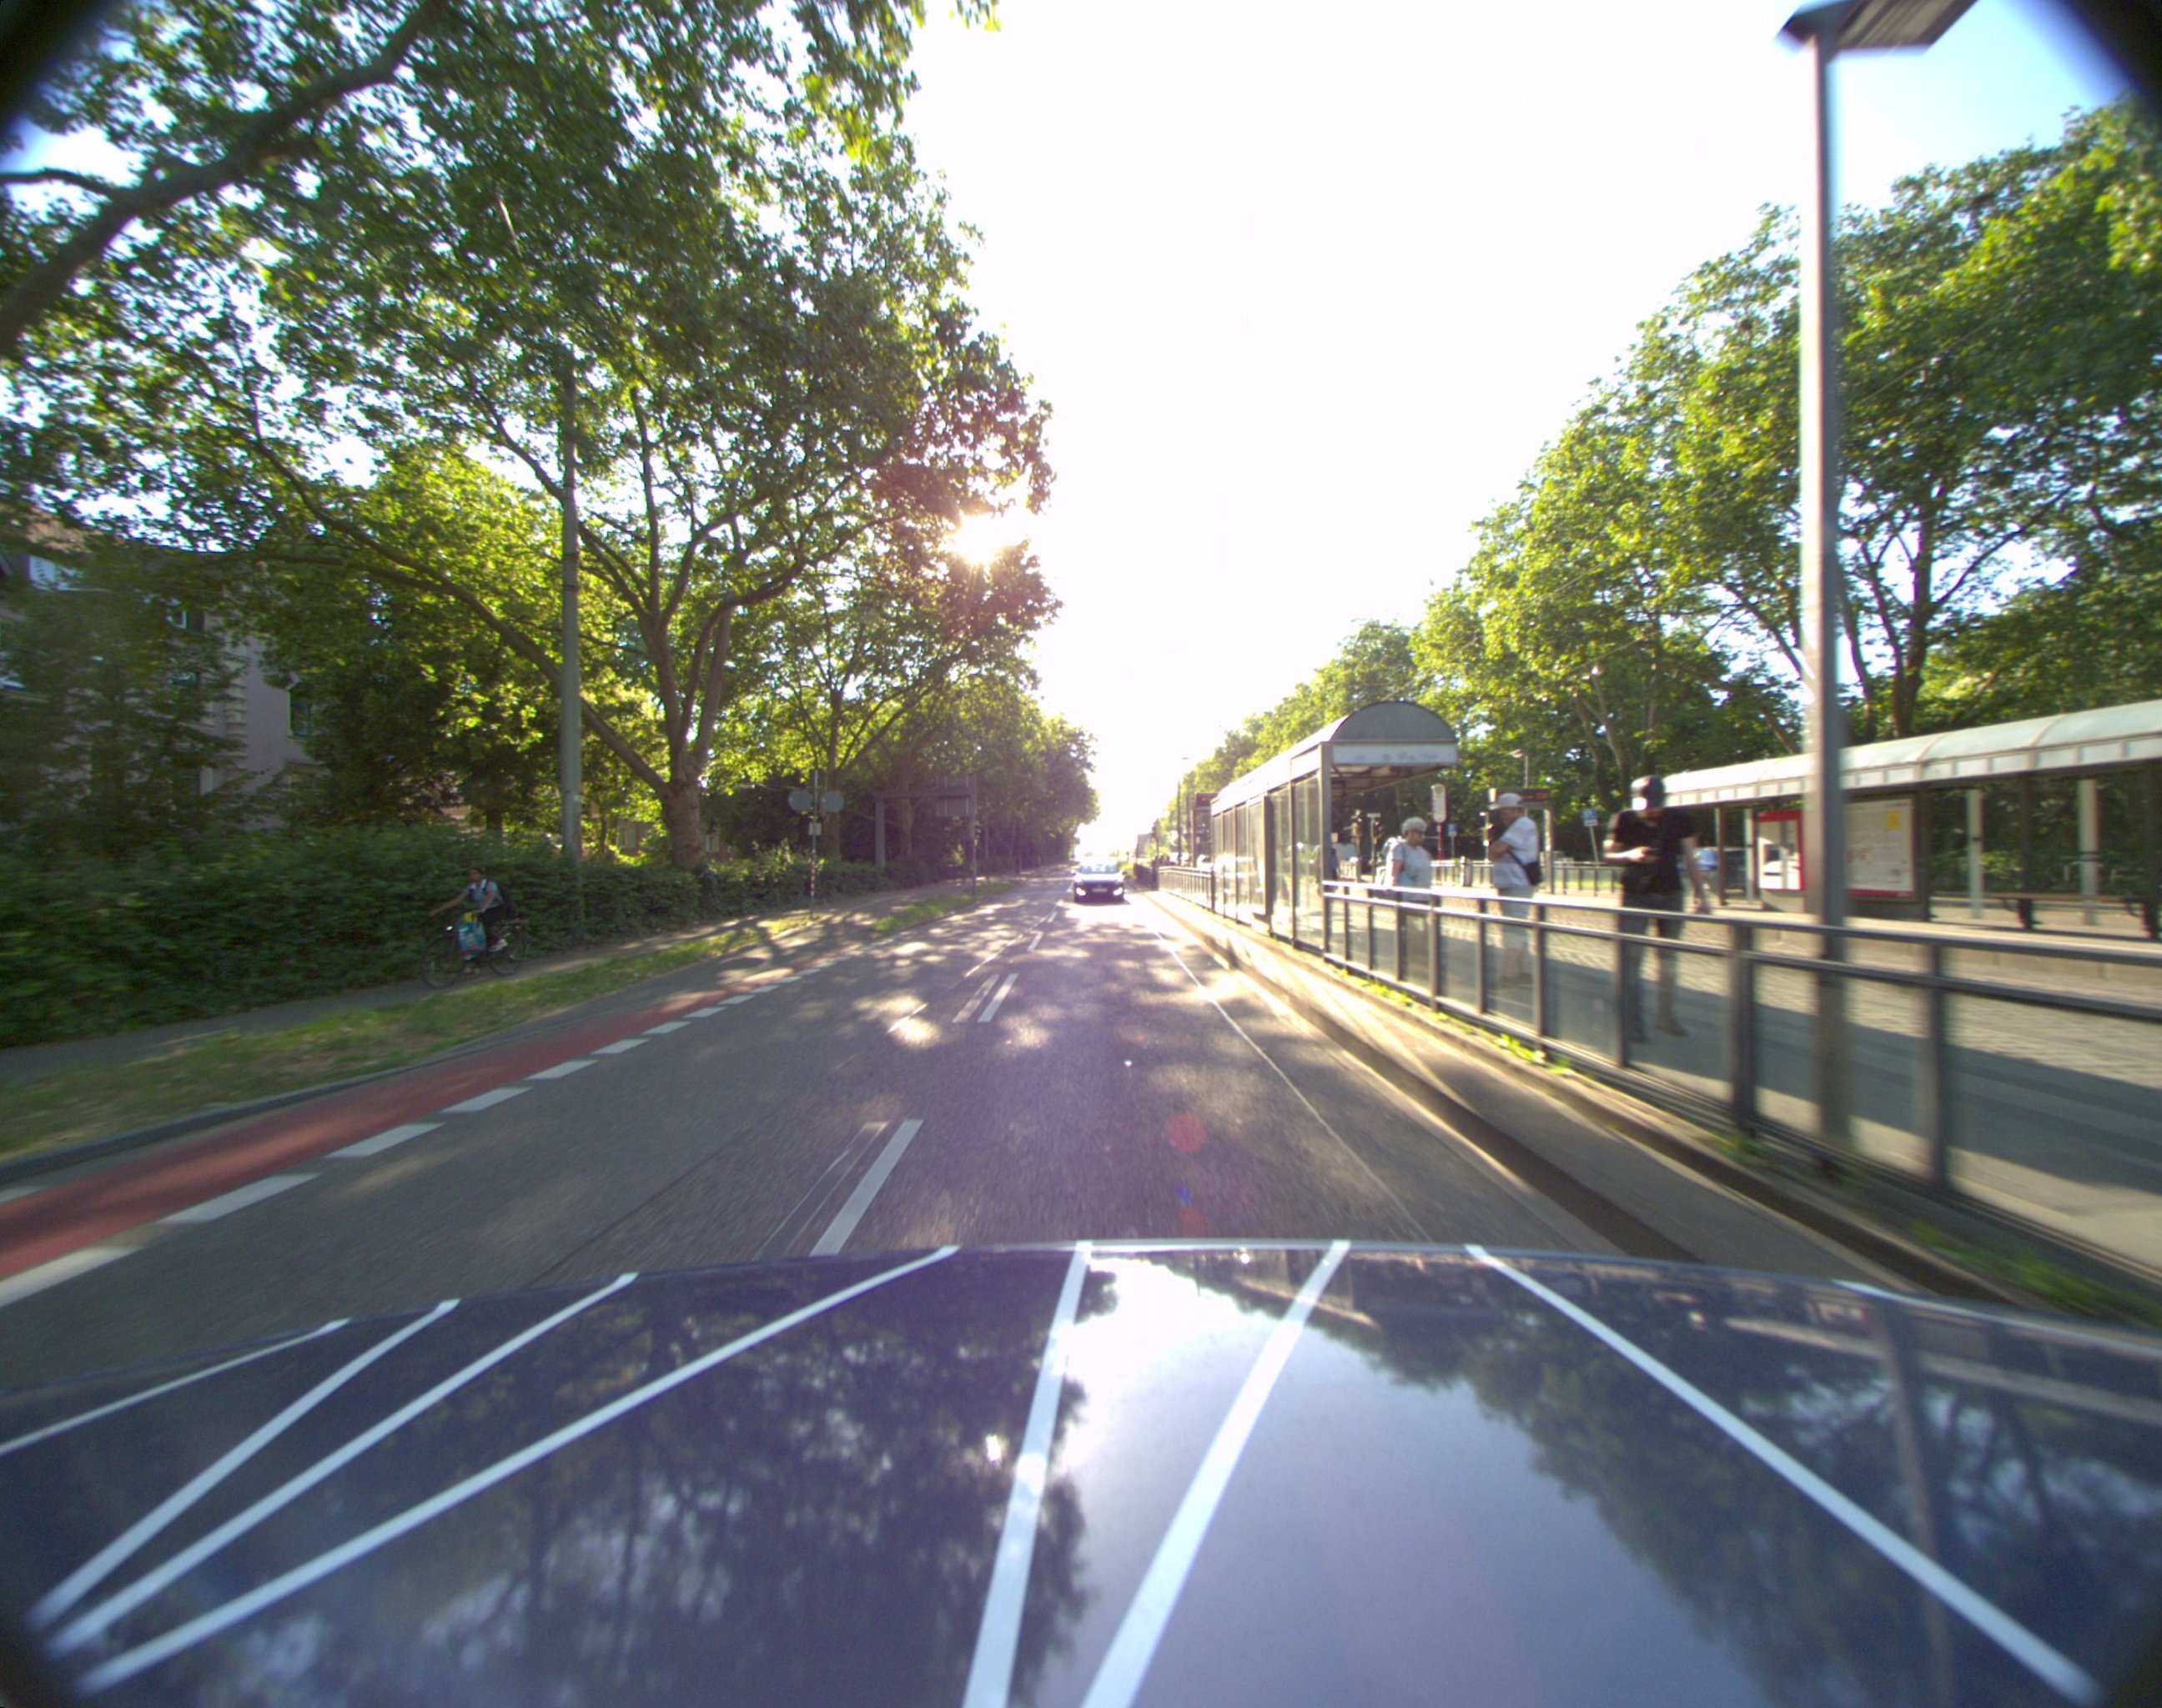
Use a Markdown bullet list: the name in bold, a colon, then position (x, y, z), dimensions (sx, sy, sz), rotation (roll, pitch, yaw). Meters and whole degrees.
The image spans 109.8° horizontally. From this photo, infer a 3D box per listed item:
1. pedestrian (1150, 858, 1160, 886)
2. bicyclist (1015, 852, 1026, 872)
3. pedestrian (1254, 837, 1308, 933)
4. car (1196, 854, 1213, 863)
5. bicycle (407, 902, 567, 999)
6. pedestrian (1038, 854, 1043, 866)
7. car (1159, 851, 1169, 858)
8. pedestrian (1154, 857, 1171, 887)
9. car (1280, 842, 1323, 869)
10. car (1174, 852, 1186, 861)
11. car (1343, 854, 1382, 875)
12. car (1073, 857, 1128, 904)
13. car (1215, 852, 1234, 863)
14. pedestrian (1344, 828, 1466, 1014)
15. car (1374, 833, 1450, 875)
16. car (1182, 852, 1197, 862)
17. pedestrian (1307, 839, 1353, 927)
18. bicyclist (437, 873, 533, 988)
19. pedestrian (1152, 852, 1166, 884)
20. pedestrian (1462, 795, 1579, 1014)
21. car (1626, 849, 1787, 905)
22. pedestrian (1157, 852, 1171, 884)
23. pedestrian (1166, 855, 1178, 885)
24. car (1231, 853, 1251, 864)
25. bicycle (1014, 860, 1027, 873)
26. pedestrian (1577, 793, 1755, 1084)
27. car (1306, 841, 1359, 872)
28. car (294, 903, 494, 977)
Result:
- **pedestrian**: position (3.553, 0.872, 36.468), dimensions (0.417, 1.313, 0.359), rotation (1, 1, 1)
- **bicyclist**: position (-5.266, 0.684, 66.123), dimensions (0.700, 1.718, 1.081), rotation (-1, 0, 9)
- **pedestrian**: position (3.662, 0.552, 13.960), dimensions (0.744, 1.684, 0.791), rotation (-2, 1, 1)
- **car**: position (19.920, 0.711, 122.555), dimensions (1.832, 1.496, 4.393), rotation (1, 1, -1)
- **bicycle**: position (-8.133, 1.276, 10.521), dimensions (0.768, 1.101, 1.800), rotation (-1, 0, 0)
- **pedestrian**: position (-5.450, 0.827, 102.273), dimensions (0.649, 1.626, 0.928), rotation (1, 1, 2)
- **car**: position (20.201, 0.127, 185.269), dimensions (1.734, 1.730, 3.899), rotation (1, 1, -1)
- **pedestrian**: position (3.846, 0.831, 35.925), dimensions (0.592, 1.398, 0.558), rotation (1, 1, -20)
- **car**: position (20.897, 0.105, 72.391), dimensions (2.189, 2.506, 6.049), rotation (1, 1, -1)
- **car**: position (20.410, 0.477, 157.088), dimensions (1.832, 1.830, 4.393), rotation (1, 1, -1)
- **car**: position (21.386, 0.751, 57.874), dimensions (1.656, 1.504, 3.264), rotation (1, 1, -2)
- **car**: position (0.678, 0.890, 27.548), dimensions (1.799, 1.501, 4.000), rotation (-2, 0, 1)
- **car**: position (20.508, 0.510, 108.600), dimensions (1.832, 1.428, 4.323), rotation (1, 1, -1)
- **pedestrian**: position (3.095, 0.593, 7.245), dimensions (0.800, 1.624, 0.868), rotation (-3, 0, 39)
- **car**: position (21.296, -0.035, 49.273), dimensions (2.189, 2.506, 6.031), rotation (1, 1, -1)
- **car**: position (20.086, 0.593, 141.152), dimensions (1.832, 1.709, 4.392), rotation (1, 1, -5)
- **pedestrian**: position (4.569, 0.528, 13.976), dimensions (0.589, 1.558, 0.650), rotation (-2, 1, 1)
- **bicyclist**: position (-8.129, 1.023, 10.391), dimensions (0.768, 1.504, 0.650), rotation (-1, 0, 0)
- **pedestrian**: position (3.865, 0.708, 37.628), dimensions (0.520, 1.559, 0.509), rotation (2, 1, 31)
- **pedestrian**: position (3.881, 0.431, 6.763), dimensions (0.652, 1.831, 0.711), rotation (-2, 1, 11)
- **car**: position (20.353, 0.685, 24.972), dimensions (1.908, 1.642, 3.971), rotation (1, 1, -2)
- **pedestrian**: position (4.152, 0.692, 38.029), dimensions (0.520, 1.559, 0.509), rotation (2, 1, 31)
- **pedestrian**: position (4.486, 0.767, 37.341), dimensions (0.521, 1.464, 0.514), rotation (1, 1, 2)
- **car**: position (20.643, 0.571, 98.315), dimensions (1.743, 1.428, 3.851), rotation (1, 1, -1)
- **bicycle**: position (-5.258, 1.110, 66.126), dimensions (0.700, 1.101, 1.931), rotation (-1, 0, 9)
- **pedestrian**: position (3.786, 0.495, 4.933), dimensions (0.654, 1.712, 0.708), rotation (-3, 1, -35)
- **car**: position (21.219, 0.189, 64.437), dimensions (2.189, 2.506, 6.269), rotation (1, 1, -2)
- **car**: position (-21.978, 2.681, 24.602), dimensions (4.471, 2.002, 1.992), rotation (0, -1, -29)
